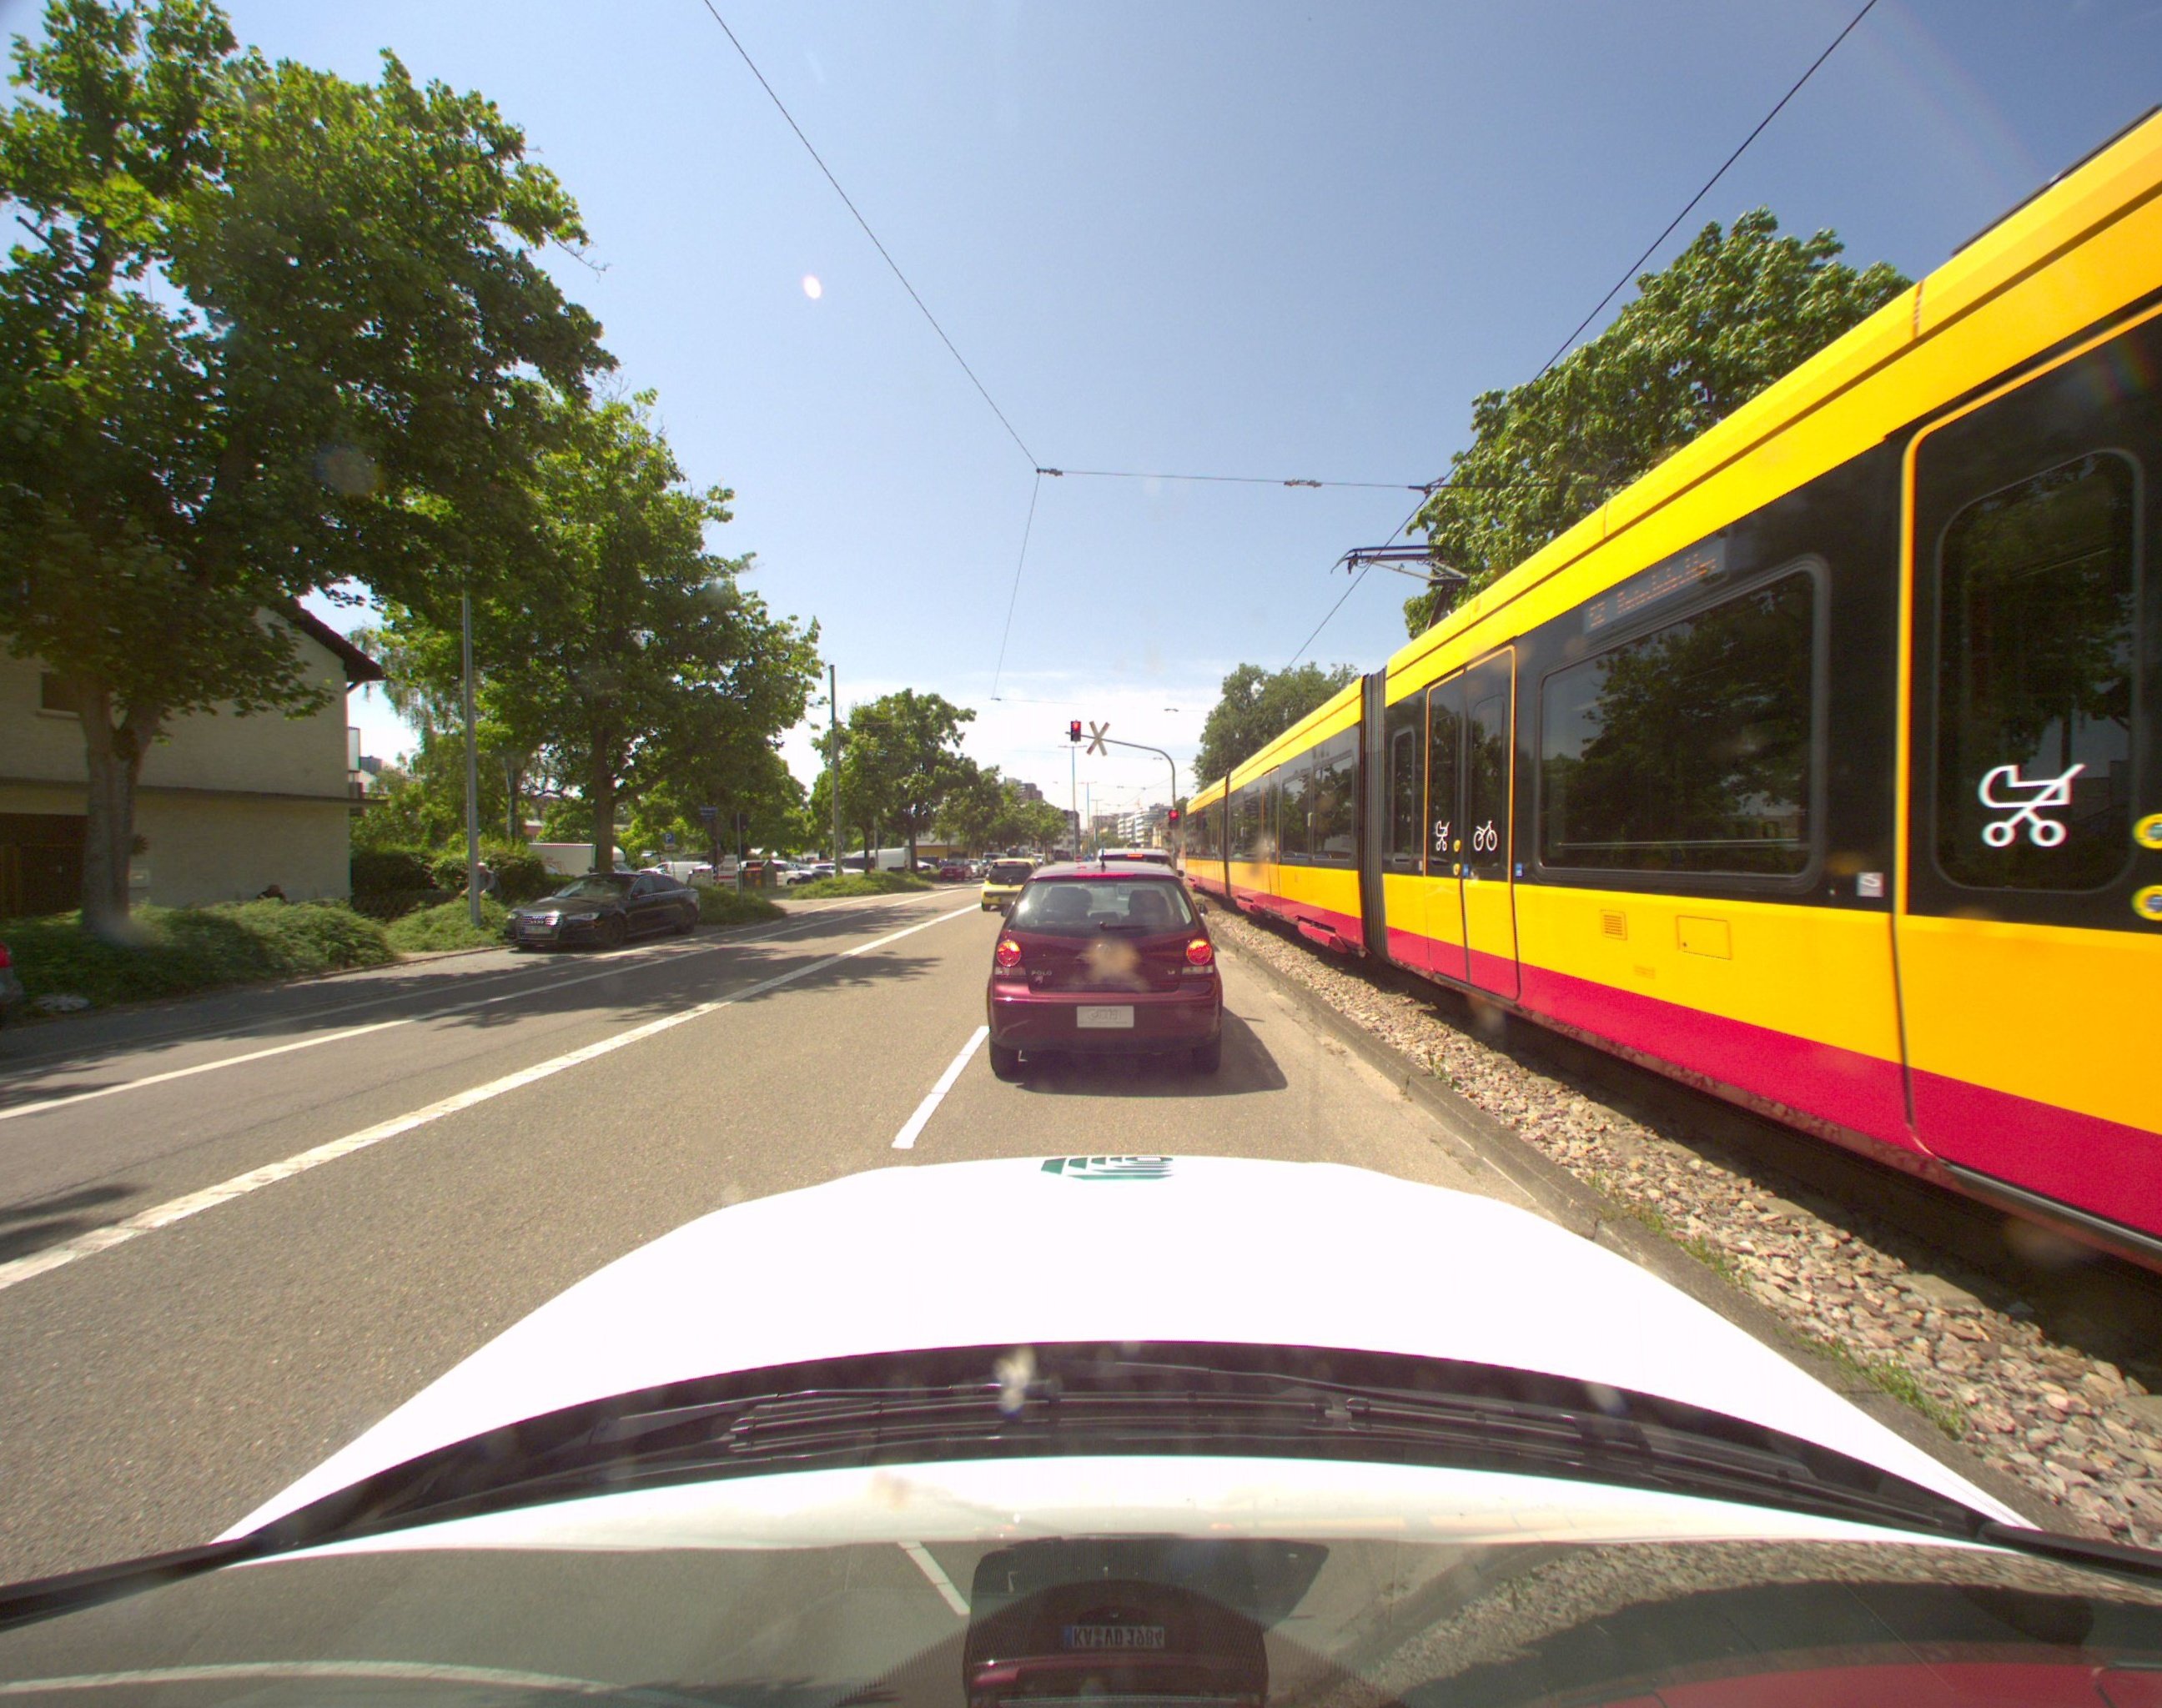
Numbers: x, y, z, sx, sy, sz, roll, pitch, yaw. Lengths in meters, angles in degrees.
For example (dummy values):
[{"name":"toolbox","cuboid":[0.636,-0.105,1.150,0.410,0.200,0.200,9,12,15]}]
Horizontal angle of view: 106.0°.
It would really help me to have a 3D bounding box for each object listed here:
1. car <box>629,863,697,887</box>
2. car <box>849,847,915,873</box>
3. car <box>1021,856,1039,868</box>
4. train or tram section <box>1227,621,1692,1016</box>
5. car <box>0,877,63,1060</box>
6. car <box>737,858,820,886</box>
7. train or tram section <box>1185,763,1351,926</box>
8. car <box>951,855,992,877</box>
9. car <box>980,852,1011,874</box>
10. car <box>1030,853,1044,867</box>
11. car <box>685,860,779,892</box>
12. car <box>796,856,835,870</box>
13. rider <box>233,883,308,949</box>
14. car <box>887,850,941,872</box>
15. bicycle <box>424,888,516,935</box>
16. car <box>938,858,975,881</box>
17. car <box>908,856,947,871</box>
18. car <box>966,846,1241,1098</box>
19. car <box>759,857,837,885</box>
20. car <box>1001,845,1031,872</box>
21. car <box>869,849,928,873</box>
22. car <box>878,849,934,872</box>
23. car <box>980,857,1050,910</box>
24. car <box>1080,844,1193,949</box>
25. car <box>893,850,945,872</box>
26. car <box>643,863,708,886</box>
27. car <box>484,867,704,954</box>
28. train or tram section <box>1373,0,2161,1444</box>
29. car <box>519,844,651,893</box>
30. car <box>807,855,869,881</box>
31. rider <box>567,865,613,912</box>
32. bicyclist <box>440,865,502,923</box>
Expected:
[{"name":"car","cuboid":[-30.412,1.512,59.334,3.982,1.653,1.812,1,-1,-7]},{"name":"car","cuboid":[-17.428,0.531,71.573,5.076,2.244,2.380,0,-1,3]},{"name":"car","cuboid":[-6.329,1.044,101.769,1.606,1.441,4.006,0,-1,5]},{"name":"train or tram section","cuboid":[4.449,-0.358,12.949,2.730,3.609,10.957,0,0,2]},{"name":"car","cuboid":[-10.246,0.995,5.343,1.812,1.564,4.182,0,0,1]},{"name":"car","cuboid":[-18.627,1.107,50.224,4.319,1.585,1.917,-2,0,7]},{"name":"train or tram section","cuboid":[4.867,-0.229,23.642,2.730,3.609,10.957,0,0,2]},{"name":"car","cuboid":[-8.218,0.889,61.297,1.965,1.601,4.566,0,-1,6]},{"name":"car","cuboid":[-7.445,0.778,71.526,1.774,1.881,4.791,0,-1,5]},{"name":"car","cuboid":[-5.874,0.807,107.840,1.771,1.828,3.995,1,-1,-3]},{"name":"car","cuboid":[-19.349,1.195,45.261,4.329,1.585,1.912,-2,0,-1]},{"name":"car","cuboid":[-31.569,1.040,96.918,4.006,1.617,1.816,1,-1,0]},{"name":"rider","cuboid":[-17.968,1.361,18.064,0.820,1.374,0.814,-2,0,10]},{"name":"car","cuboid":[-17.500,0.729,85.333,5.076,2.244,2.380,0,-1,3]},{"name":"bicycle","cuboid":[-14.723,1.356,19.681,0.697,1.030,1.831,0,-1,5]},{"name":"car","cuboid":[-8.326,1.018,54.745,1.655,1.497,4.004,0,-1,4]},{"name":"car","cuboid":[-17.398,1.106,92.332,4.004,1.617,1.818,0,-1,3]},{"name":"car","cuboid":[0.183,0.726,7.023,1.666,1.521,4.001,-1,0,1]},{"name":"car","cuboid":[-18.410,1.094,53.054,4.319,1.585,1.917,-2,0,8]},{"name":"car","cuboid":[-6.691,0.452,84.564,2.352,2.692,5.311,0,-1,3]},{"name":"car","cuboid":[-17.823,0.660,79.676,5.076,2.244,2.380,0,-1,3]},{"name":"car","cuboid":[-17.727,0.699,82.863,5.076,2.244,2.380,0,-1,3]},{"name":"car","cuboid":[-1.838,0.800,23.565,1.684,1.411,3.516,0,0,1]},{"name":"car","cuboid":[0.907,0.658,14.736,1.770,1.647,4.001,0,0,1]},{"name":"car","cuboid":[-17.483,0.761,88.014,5.076,2.244,2.380,0,-1,3]},{"name":"car","cuboid":[-30.680,1.538,61.751,3.982,1.653,1.812,1,-1,-7]},{"name":"car","cuboid":[-9.861,1.063,17.003,1.812,1.476,4.450,0,0,1]},{"name":"train or tram section","cuboid":[3.950,-0.377,1.481,2.730,3.609,12.878,0,0,2]},{"name":"car","cuboid":[-31.440,0.929,51.801,6.828,2.965,2.364,1,-1,0]},{"name":"car","cuboid":[-18.176,1.015,61.088,3.973,1.746,1.998,-2,0,0]},{"name":"rider","cuboid":[-14.480,0.999,24.029,0.805,1.360,0.829,0,0,5]},{"name":"bicyclist","cuboid":[-14.710,0.950,19.659,0.805,1.374,0.829,0,-1,5]}]
